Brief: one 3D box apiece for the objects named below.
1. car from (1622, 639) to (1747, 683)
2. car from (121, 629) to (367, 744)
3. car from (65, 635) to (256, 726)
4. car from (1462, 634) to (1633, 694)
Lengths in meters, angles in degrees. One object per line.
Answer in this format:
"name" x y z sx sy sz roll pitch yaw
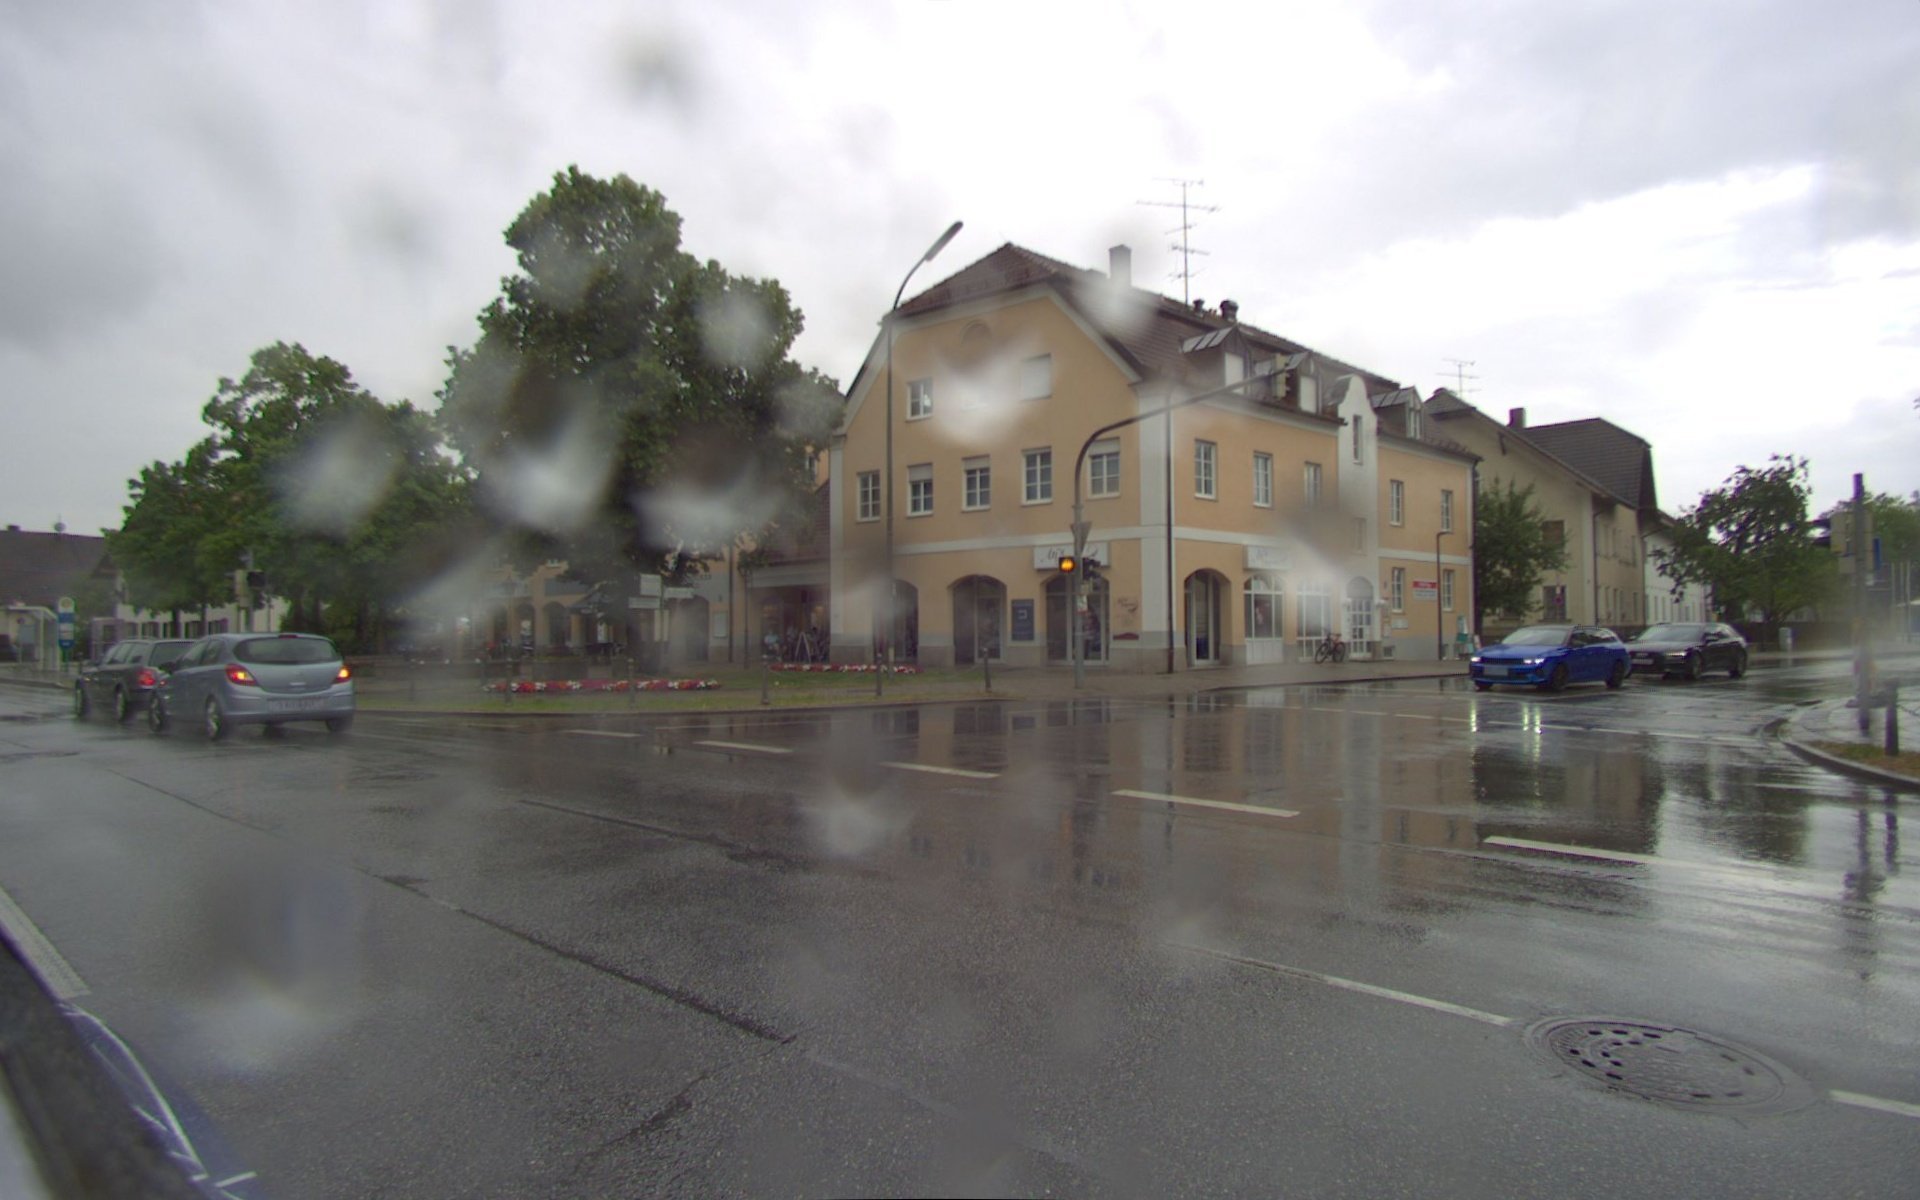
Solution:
"car" 19.098 1.575 26.630 4.006 1.025 1.427 1 -2 -35
"car" -10.601 1.161 14.893 4.099 1.466 1.850 -1 -2 38
"car" -14.752 1.387 18.610 4.099 1.466 1.850 -1 -2 38
"car" 13.279 1.393 22.811 4.288 1.194 1.693 1 -2 -35
